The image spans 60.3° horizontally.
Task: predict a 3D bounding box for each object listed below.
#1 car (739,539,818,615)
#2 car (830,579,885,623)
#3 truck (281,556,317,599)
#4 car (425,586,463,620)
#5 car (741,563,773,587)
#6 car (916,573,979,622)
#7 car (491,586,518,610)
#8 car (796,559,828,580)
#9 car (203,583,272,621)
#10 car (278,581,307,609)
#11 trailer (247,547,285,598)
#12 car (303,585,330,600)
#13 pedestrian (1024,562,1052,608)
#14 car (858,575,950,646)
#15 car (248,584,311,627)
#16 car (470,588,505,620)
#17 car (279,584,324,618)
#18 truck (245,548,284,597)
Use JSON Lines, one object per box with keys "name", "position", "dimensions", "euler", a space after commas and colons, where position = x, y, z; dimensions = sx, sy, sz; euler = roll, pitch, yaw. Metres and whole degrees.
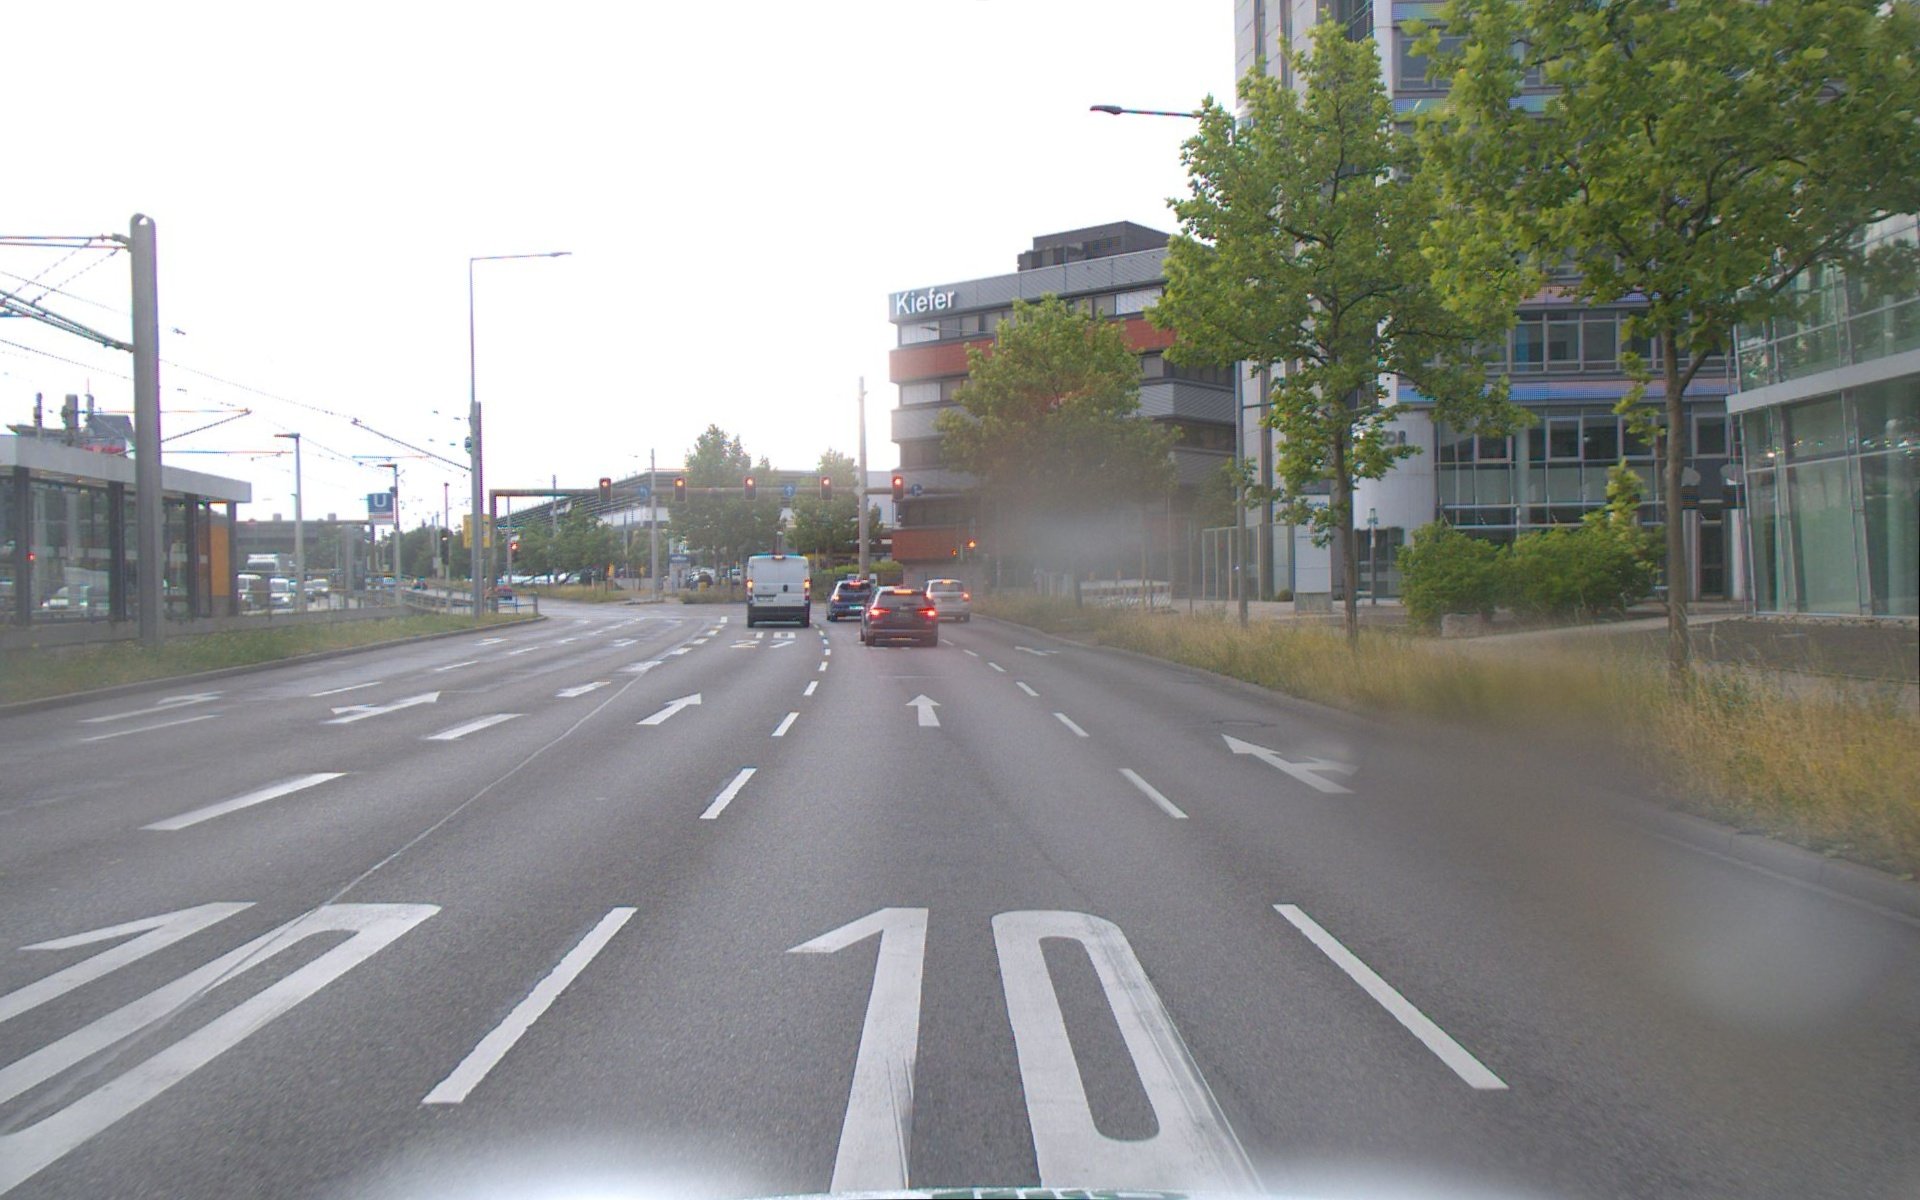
{"name": "car", "position": [-6.028, -0.713, 54.367], "dimensions": [2.399, 2.334, 4.895], "euler": [1, 0, -8]}
{"name": "car", "position": [-3.738, 0.032, 59.901], "dimensions": [1.857, 1.491, 3.905], "euler": [-1, 0, -5]}
{"name": "truck", "position": [-65.851, -2.212, 164.945], "dimensions": [2.624, 4.202, 6.158], "euler": [-1, 0, -16]}
{"name": "car", "position": [-32.896, 0.197, 105.494], "dimensions": [1.740, 2.048, 4.338], "euler": [1, 1, -10]}
{"name": "car", "position": [-18.360, -2.219, 149.411], "dimensions": [1.965, 2.067, 3.974], "euler": [-2, 1, -21]}
{"name": "car", "position": [-0.484, -0.093, 59.355], "dimensions": [1.794, 1.685, 3.993], "euler": [0, 0, -8]}
{"name": "car", "position": [-39.240, -0.156, 142.482], "dimensions": [1.747, 2.049, 4.320], "euler": [1, 0, -21]}
{"name": "car", "position": [-14.508, -2.972, 162.221], "dimensions": [1.848, 2.049, 3.740], "euler": [1, 0, -27]}
{"name": "car", "position": [-34.908, 0.098, 80.024], "dimensions": [1.958, 1.761, 5.017], "euler": [1, 0, -11]}
{"name": "car", "position": [-42.580, -0.299, 105.531], "dimensions": [1.505, 1.696, 4.244], "euler": [1, 0, -20]}
{"name": "trailer", "position": [-60.593, -2.396, 144.559], "dimensions": [2.756, 4.178, 11.367], "euler": [-2, 1, -22]}
{"name": "car", "position": [-58.939, -0.701, 151.586], "dimensions": [1.877, 1.286, 4.393], "euler": [1, 0, -17]}
{"name": "pedestrian", "position": [3.779, -0.728, 80.306], "dimensions": [1.122, 2.162, 1.221], "euler": [-2, 2, -7]}
{"name": "car", "position": [-1.442, 0.253, 41.158], "dimensions": [1.955, 1.666, 3.994], "euler": [1, 0, -6]}
{"name": "car", "position": [-37.905, 0.304, 92.279], "dimensions": [1.956, 2.253, 5.135], "euler": [1, 0, -8]}
{"name": "car", "position": [-31.671, 0.245, 110.877], "dimensions": [1.740, 2.049, 4.338], "euler": [1, 1, -10]}
{"name": "car", "position": [-42.056, 0.071, 105.762], "dimensions": [1.740, 2.049, 4.337], "euler": [1, 0, -10]}
{"name": "truck", "position": [-58.796, -2.317, 139.992], "dimensions": [2.792, 4.065, 5.948], "euler": [-1, 1, -21]}
